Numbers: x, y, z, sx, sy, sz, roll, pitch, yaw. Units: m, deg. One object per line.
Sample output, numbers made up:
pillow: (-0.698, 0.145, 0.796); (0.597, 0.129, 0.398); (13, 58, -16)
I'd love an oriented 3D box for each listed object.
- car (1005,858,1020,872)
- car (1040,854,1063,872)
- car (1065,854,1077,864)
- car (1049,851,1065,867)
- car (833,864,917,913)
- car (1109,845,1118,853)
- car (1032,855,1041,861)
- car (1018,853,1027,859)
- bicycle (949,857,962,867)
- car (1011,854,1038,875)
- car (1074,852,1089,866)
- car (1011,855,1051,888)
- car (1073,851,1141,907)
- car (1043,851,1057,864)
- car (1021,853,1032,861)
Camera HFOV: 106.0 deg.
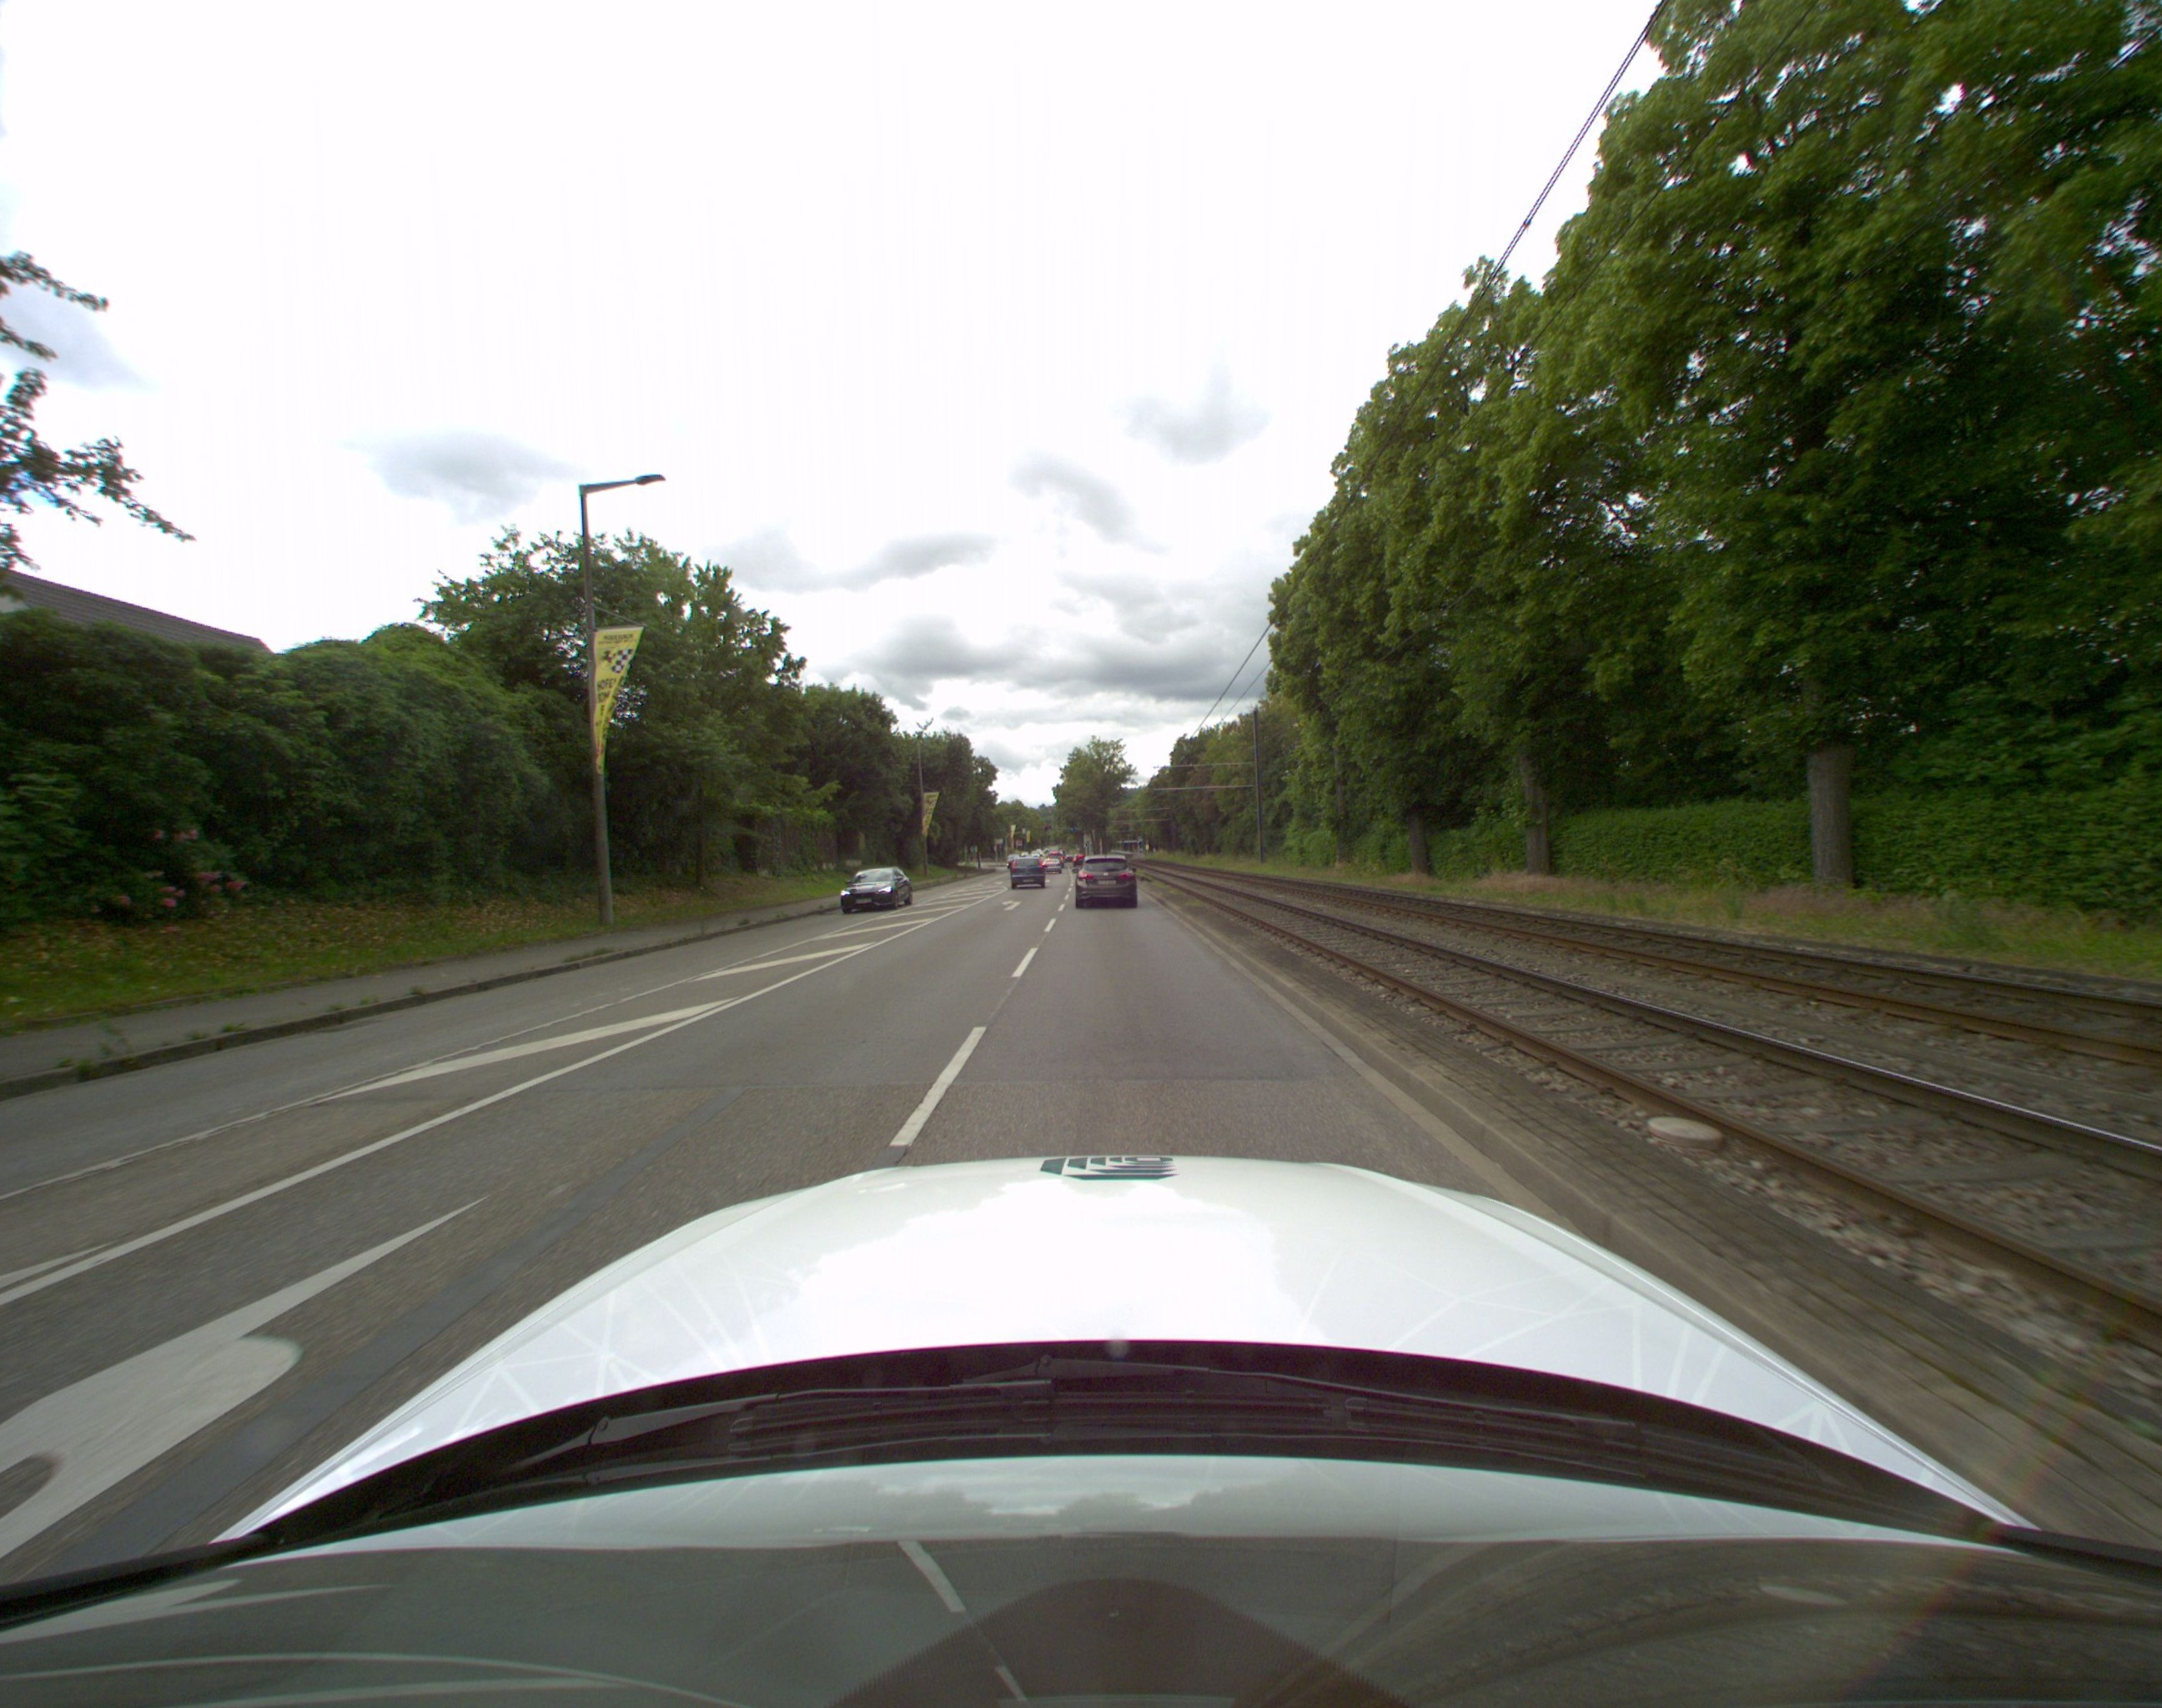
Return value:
car: (-9.201, 1.484, 110.013); (1.710, 1.760, 3.999); (-2, -1, 0)
car: (-2.523, 0.797, 70.338); (1.709, 1.435, 4.001); (-2, 0, 2)
car: (-1.693, 0.822, 136.799); (1.709, 1.550, 4.001); (-2, 0, 2)
car: (-2.798, 0.614, 96.312); (1.710, 1.864, 3.998); (-2, -1, -1)
car: (-7.014, 1.115, 28.232); (1.836, 1.375, 4.444); (-4, 0, -2)
car: (6.855, -1.052, 170.815); (1.710, 1.663, 3.706); (-2, -1, 0)
car: (-10.574, 0.931, 192.125); (1.709, 1.550, 4.001); (-2, 0, 2)
car: (-14.873, 0.471, 206.490); (1.709, 1.550, 4.001); (-2, 0, 2)
bicycle: (-14.888, 0.953, 96.611); (0.494, 1.107, 1.811); (-2, 0, 32)
car: (-4.151, 0.784, 60.424); (1.710, 1.435, 3.999); (-2, 0, 0)
car: (0.038, 0.609, 100.334); (1.709, 1.550, 4.001); (-2, 0, 2)
car: (-2.362, 0.791, 39.226); (1.695, 1.443, 3.998); (-2, 0, -1)
car: (0.799, 0.689, 24.412); (1.843, 1.493, 4.002); (-1, 0, 2)
car: (-4.330, 0.496, 114.757); (1.709, 1.864, 4.001); (-2, -1, 2)
car: (-11.517, 0.590, 172.432); (1.709, 1.550, 4.001); (-2, 0, 2)
